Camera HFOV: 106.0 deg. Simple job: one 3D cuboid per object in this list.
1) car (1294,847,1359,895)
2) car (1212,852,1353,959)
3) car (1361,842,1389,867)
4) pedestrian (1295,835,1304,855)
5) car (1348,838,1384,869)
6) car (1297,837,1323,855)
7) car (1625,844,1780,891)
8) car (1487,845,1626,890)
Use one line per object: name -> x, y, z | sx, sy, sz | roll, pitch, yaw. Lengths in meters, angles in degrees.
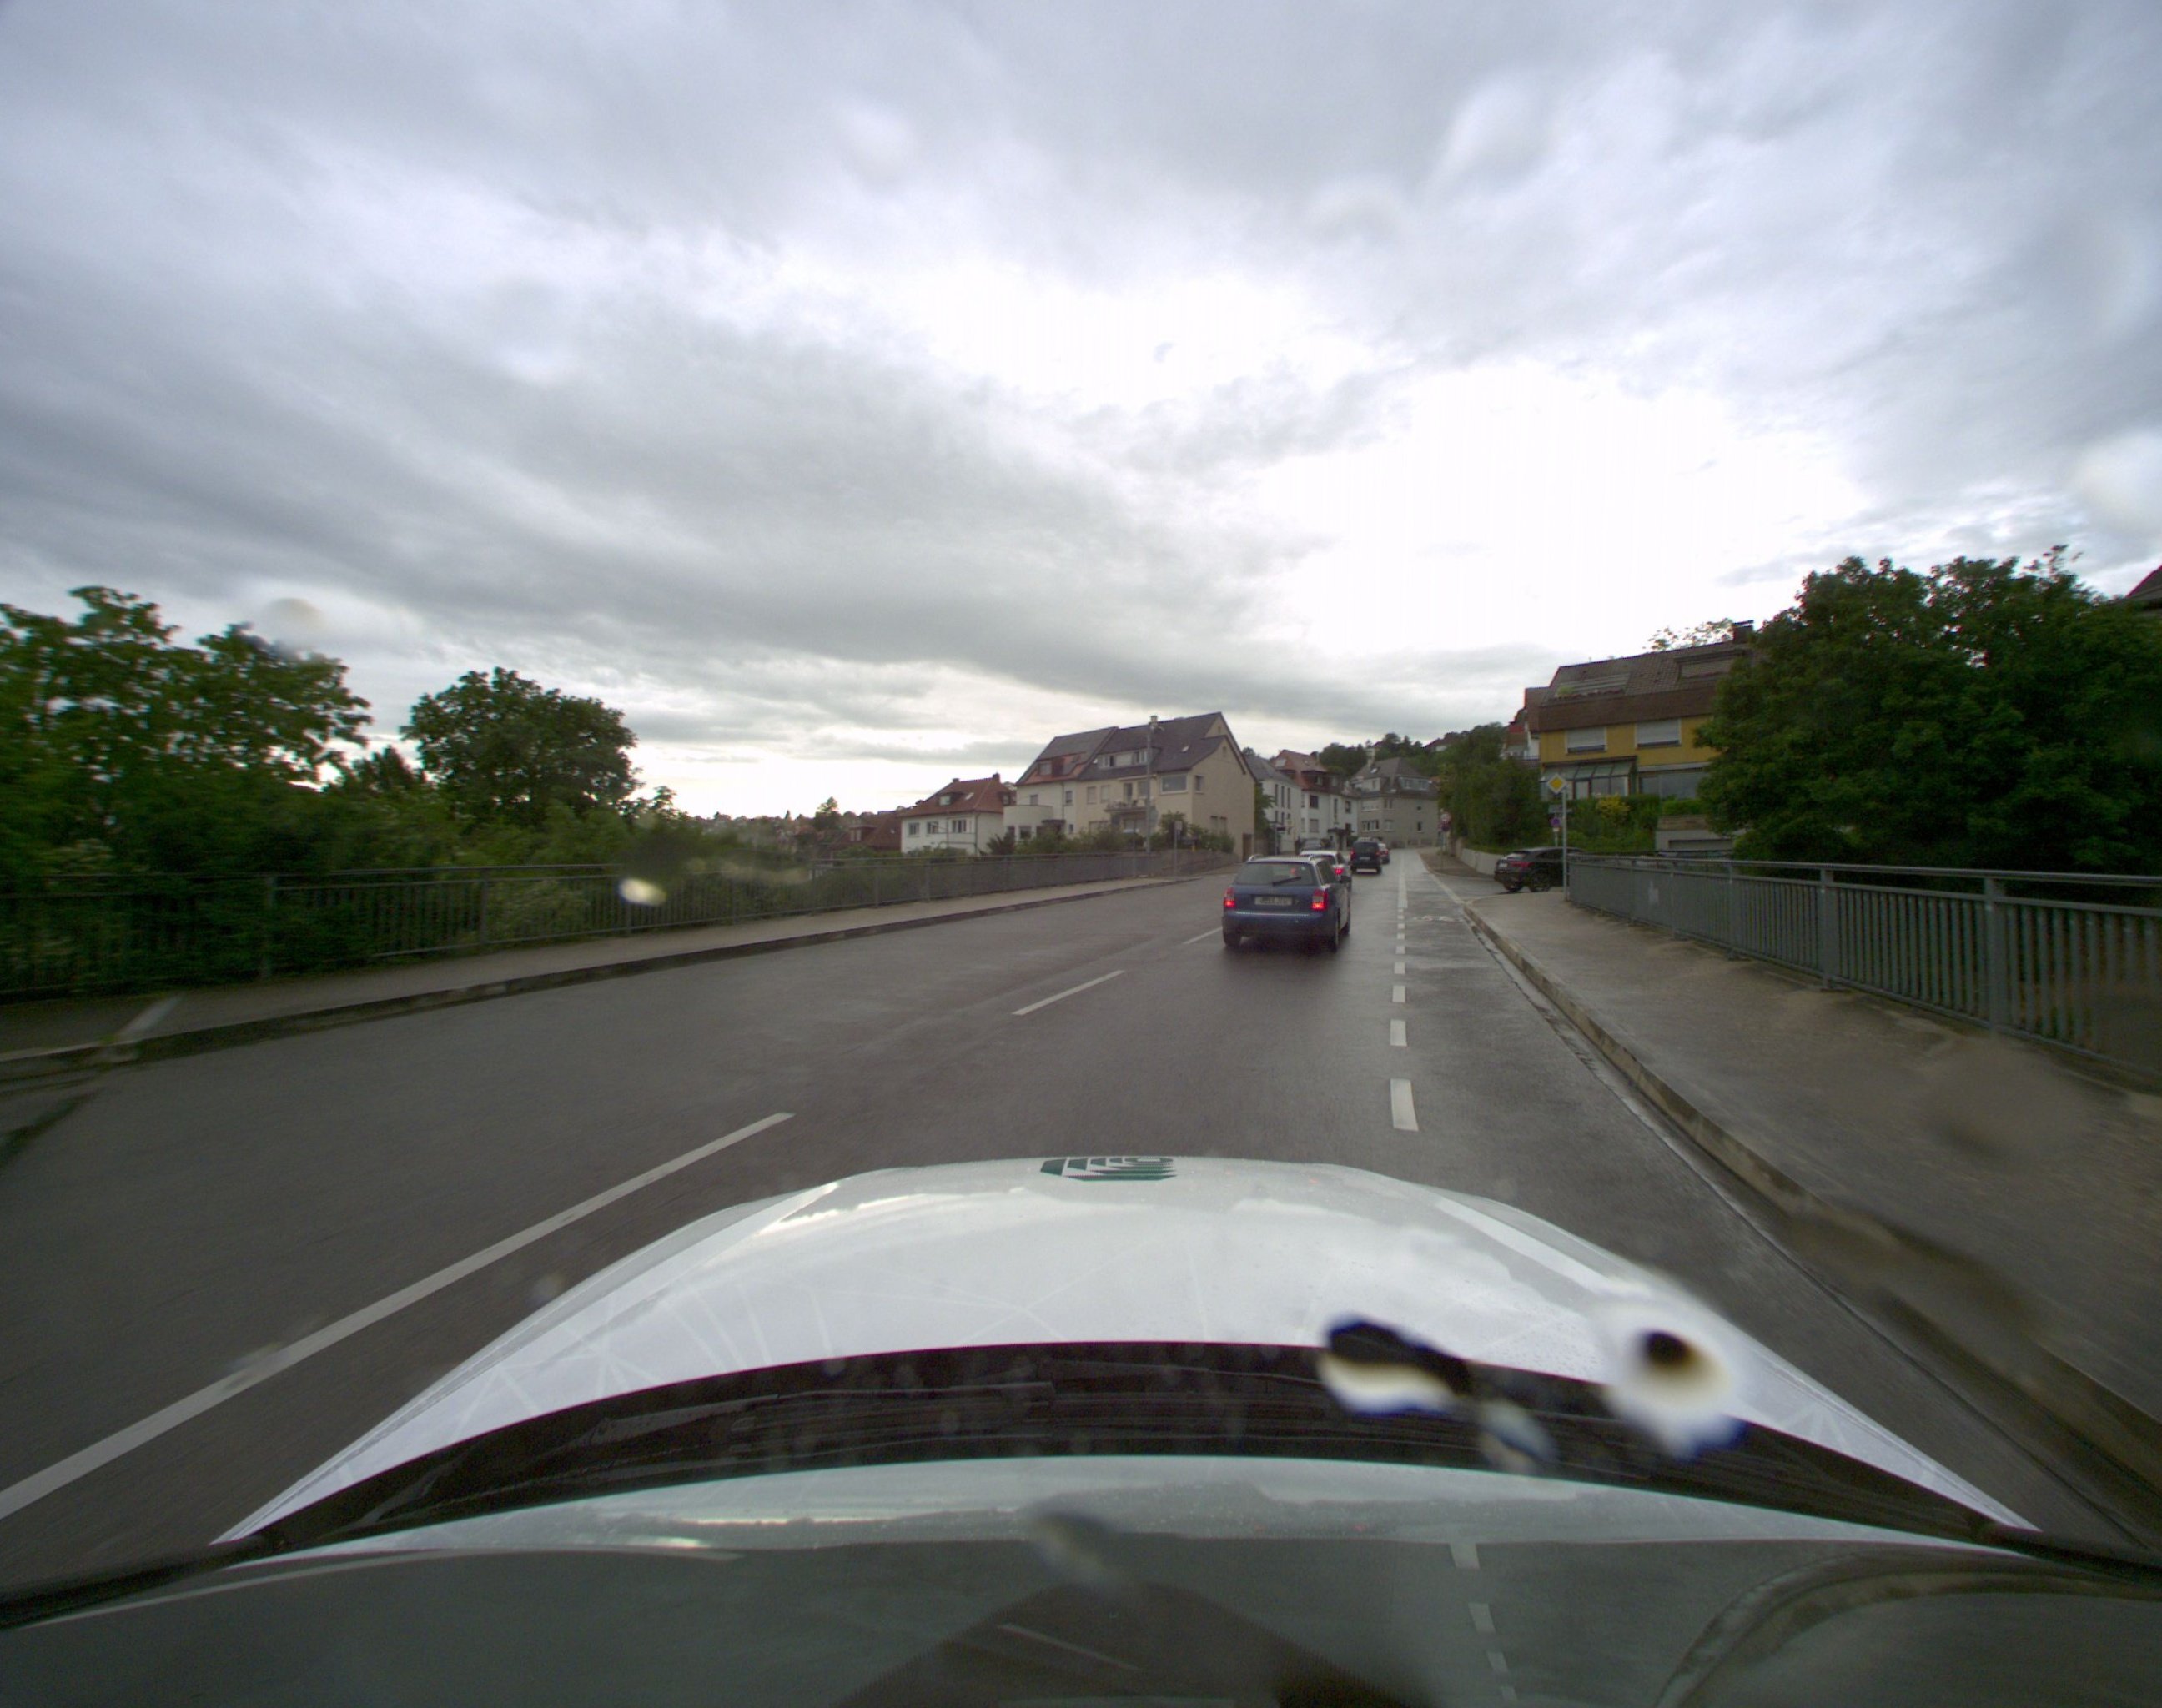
car -> 8.175, 0.514, 26.930 | 1.875, 1.389, 4.019 | 2, 0, 19
car -> 3.486, 0.718, 13.576 | 1.732, 1.407, 4.021 | 1, 1, 21
car -> 21.702, 0.026, 60.159 | 1.807, 1.730, 3.803 | 2, 1, 18
pedestrian -> 18.872, -0.768, 70.465 | 0.653, 1.691, 0.584 | -3, 2, 15
car -> 16.256, -0.071, 46.440 | 1.807, 1.616, 3.804 | 2, 1, 19
car -> 22.950, -0.773, 81.528 | 1.976, 1.708, 4.022 | -1, 0, 22
car -> 20.967, 0.444, 27.632 | 3.749, 1.424, 1.833 | 2, 0, 11
car -> 16.129, 0.433, 27.733 | 3.769, 1.424, 1.824 | 1, 1, -7
